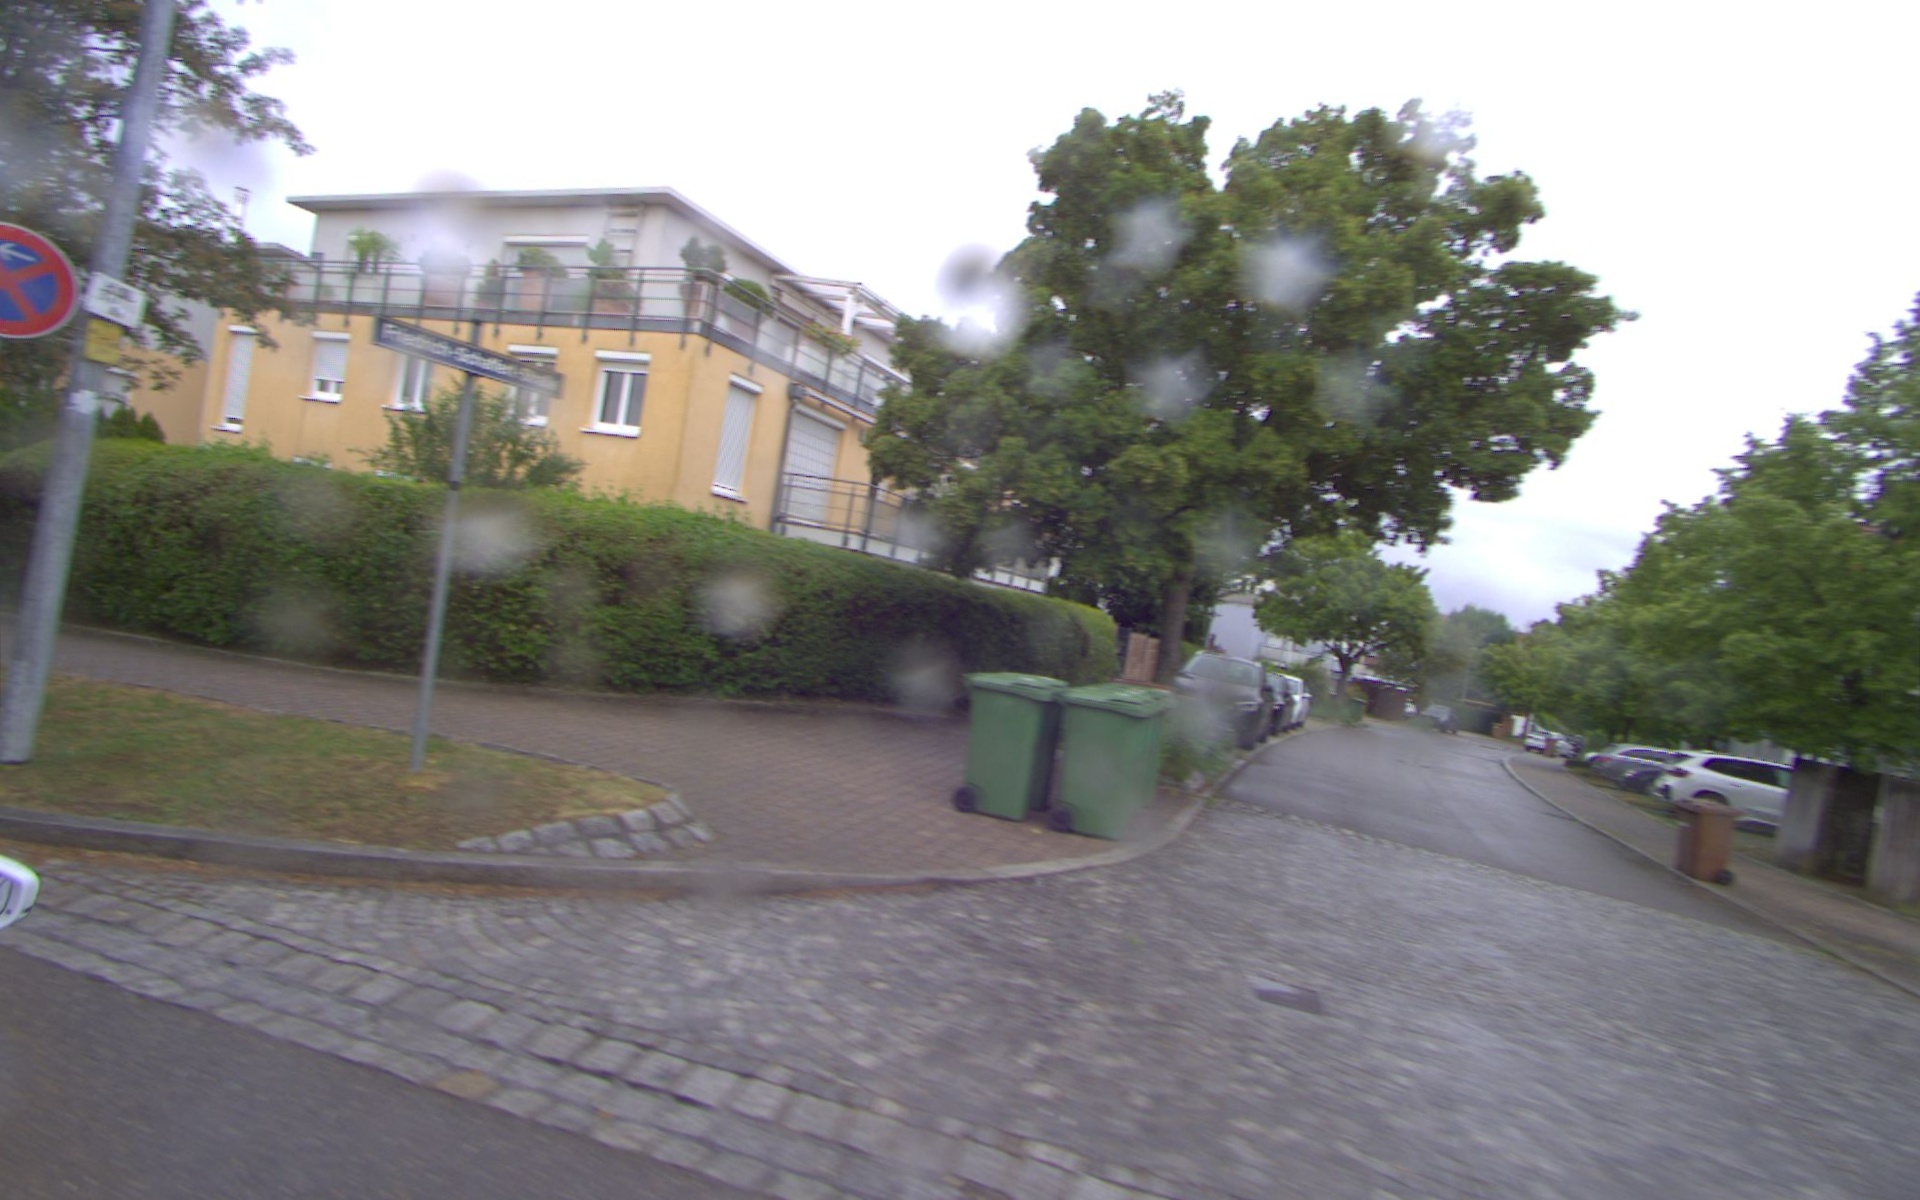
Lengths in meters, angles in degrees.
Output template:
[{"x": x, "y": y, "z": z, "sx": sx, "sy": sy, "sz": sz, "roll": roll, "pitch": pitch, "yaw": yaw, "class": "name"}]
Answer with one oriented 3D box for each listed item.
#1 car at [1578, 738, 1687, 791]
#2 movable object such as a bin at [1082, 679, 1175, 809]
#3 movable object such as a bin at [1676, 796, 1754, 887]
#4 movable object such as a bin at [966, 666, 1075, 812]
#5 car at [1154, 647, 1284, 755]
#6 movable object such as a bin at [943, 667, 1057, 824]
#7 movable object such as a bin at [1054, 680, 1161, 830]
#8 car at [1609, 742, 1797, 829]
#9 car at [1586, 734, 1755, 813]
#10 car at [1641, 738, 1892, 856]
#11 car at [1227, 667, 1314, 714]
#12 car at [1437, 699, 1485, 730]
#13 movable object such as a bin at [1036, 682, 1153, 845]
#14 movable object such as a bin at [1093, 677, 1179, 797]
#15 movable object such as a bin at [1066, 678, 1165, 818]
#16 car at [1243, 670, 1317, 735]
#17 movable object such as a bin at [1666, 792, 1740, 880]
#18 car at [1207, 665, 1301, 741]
[{"x": 31.574, "y": 7.696, "z": 47.376, "sx": 3.932, "sy": 1.683, "sz": 1.778, "roll": 7, "pitch": -1, "yaw": 30, "class": "car"}, {"x": 1.611, "y": 1.347, "z": 9.550, "sx": 0.683, "sy": 1.067, "sz": 0.606, "roll": 9, "pitch": 0, "yaw": 14, "class": "movable object such as a bin"}, {"x": 9.297, "y": 2.960, "z": 12.404, "sx": 0.562, "sy": 0.941, "sz": 0.530, "roll": 9, "pitch": -1, "yaw": 27, "class": "movable object such as a bin"}, {"x": 0.525, "y": 1.153, "z": 8.536, "sx": 0.683, "sy": 1.085, "sz": 0.598, "roll": 9, "pitch": 0, "yaw": 14, "class": "movable object such as a bin"}, {"x": 5.135, "y": 1.936, "z": 19.545, "sx": 1.748, "sy": 1.535, "sz": 4.140, "roll": 11, "pitch": -1, "yaw": 22, "class": "car"}, {"x": 0.326, "y": 1.119, "z": 7.933, "sx": 0.655, "sy": 1.086, "sz": 0.544, "roll": 9, "pitch": 0, "yaw": 15, "class": "movable object such as a bin"}, {"x": 1.240, "y": 1.265, "z": 8.378, "sx": 0.683, "sy": 1.087, "sz": 0.544, "roll": 9, "pitch": 0, "yaw": 14, "class": "movable object such as a bin"}, {"x": 20.844, "y": 5.173, "z": 28.447, "sx": 3.932, "sy": 1.546, "sz": 1.778, "roll": 7, "pitch": -1, "yaw": 30, "class": "car"}, {"x": 21.703, "y": 5.261, "z": 30.932, "sx": 3.932, "sy": 1.551, "sz": 1.778, "roll": 7, "pitch": -1, "yaw": 30, "class": "car"}, {"x": 17.709, "y": 4.283, "z": 22.355, "sx": 3.932, "sy": 1.683, "sz": 1.778, "roll": 7, "pitch": -1, "yaw": 30, "class": "car"}, {"x": 15.667, "y": 4.570, "z": 50.774, "sx": 3.925, "sy": 1.585, "sz": 1.911, "roll": 10, "pitch": -1, "yaw": 18, "class": "car"}, {"x": 37.529, "y": 8.598, "z": 75.301, "sx": 3.828, "sy": 1.831, "sz": 1.777, "roll": 10, "pitch": -1, "yaw": -43, "class": "car"}, {"x": 1.053, "y": 1.233, "z": 7.775, "sx": 0.683, "sy": 1.087, "sz": 0.602, "roll": 9, "pitch": 0, "yaw": 14, "class": "movable object such as a bin"}, {"x": 1.814, "y": 1.386, "z": 10.331, "sx": 0.683, "sy": 1.067, "sz": 0.606, "roll": 9, "pitch": 0, "yaw": 14, "class": "movable object such as a bin"}, {"x": 1.394, "y": 1.294, "z": 8.958, "sx": 0.683, "sy": 1.080, "sz": 0.579, "roll": 9, "pitch": 0, "yaw": 14, "class": "movable object such as a bin"}, {"x": 9.446, "y": 3.012, "z": 29.590, "sx": 1.488, "sy": 1.493, "sz": 3.275, "roll": 11, "pitch": -1, "yaw": 25, "class": "car"}, {"x": 9.526, "y": 3.017, "z": 12.917, "sx": 0.562, "sy": 0.941, "sz": 0.530, "roll": 9, "pitch": -1, "yaw": 27, "class": "movable object such as a bin"}, {"x": 7.397, "y": 2.557, "z": 25.091, "sx": 1.611, "sy": 1.425, "sz": 3.607, "roll": 11, "pitch": -1, "yaw": 23, "class": "car"}]
